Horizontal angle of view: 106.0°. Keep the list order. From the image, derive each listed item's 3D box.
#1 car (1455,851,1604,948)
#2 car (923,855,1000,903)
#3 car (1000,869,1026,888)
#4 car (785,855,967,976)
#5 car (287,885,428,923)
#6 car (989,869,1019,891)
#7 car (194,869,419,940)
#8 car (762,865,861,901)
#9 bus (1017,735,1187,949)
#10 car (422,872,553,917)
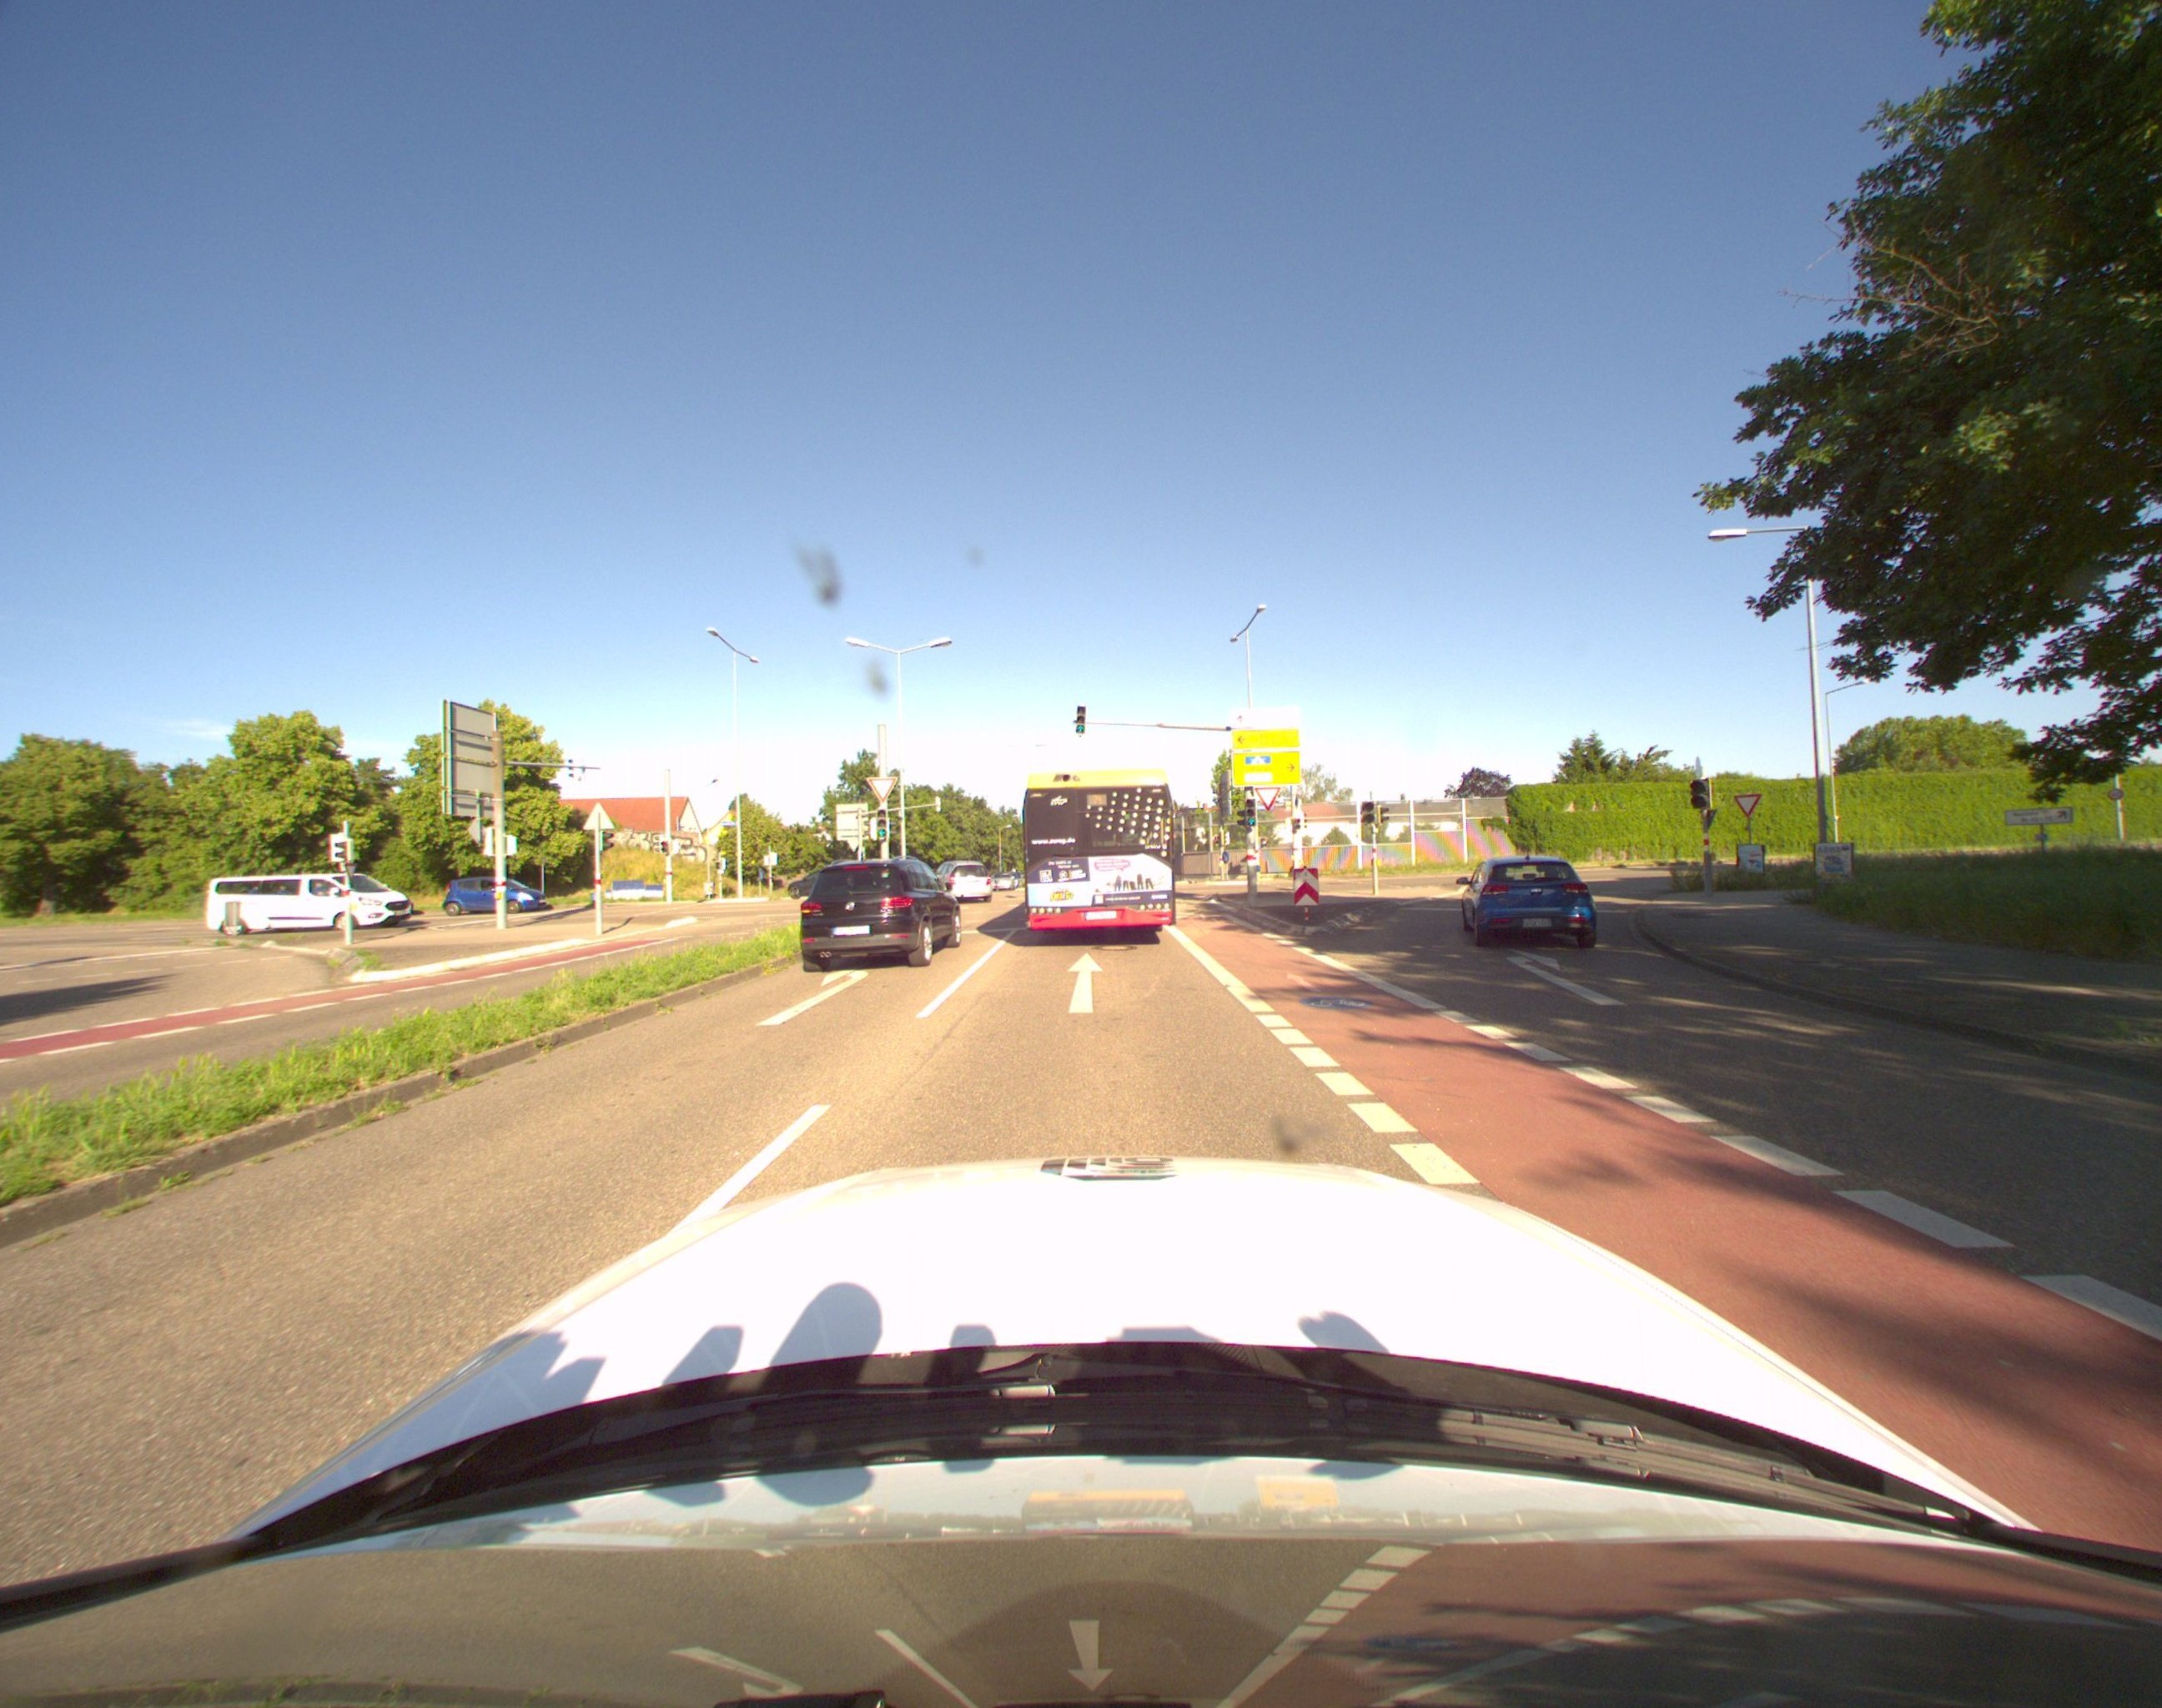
[{"bbox_3d":[7.629,0.701,14.195,1.717,1.440,3.813,-2,-1,21],"label":"car"},{"bbox_3d":[-4.750,0.911,31.813,2.049,1.616,4.387,-2,1,-21],"label":"car"},{"bbox_3d":[-6.151,2.259,74.340,1.988,1.616,4.527,-2,-1,-1],"label":"car"},{"bbox_3d":[-3.130,0.874,13.336,1.820,1.627,4.001,-2,-1,2],"label":"car"},{"bbox_3d":[-30.202,2.055,34.119,4.020,1.274,1.890,-2,1,-5],"label":"car"},{"bbox_3d":[-5.834,1.957,61.882,1.788,1.506,4.528,-2,-1,0],"label":"car"},{"bbox_3d":[-25.897,1.632,27.416,5.250,2.013,2.044,-2,1,-5],"label":"car"},{"bbox_3d":[-13.314,1.424,40.222,4.362,1.616,2.060,-2,-1,26],"label":"car"},{"bbox_3d":[0.354,-0.165,19.413,2.748,3.458,12.395,0,0,0],"label":"bus"},{"bbox_3d":[-25.152,1.700,34.627,4.020,1.644,1.890,-2,1,-5],"label":"car"}]
